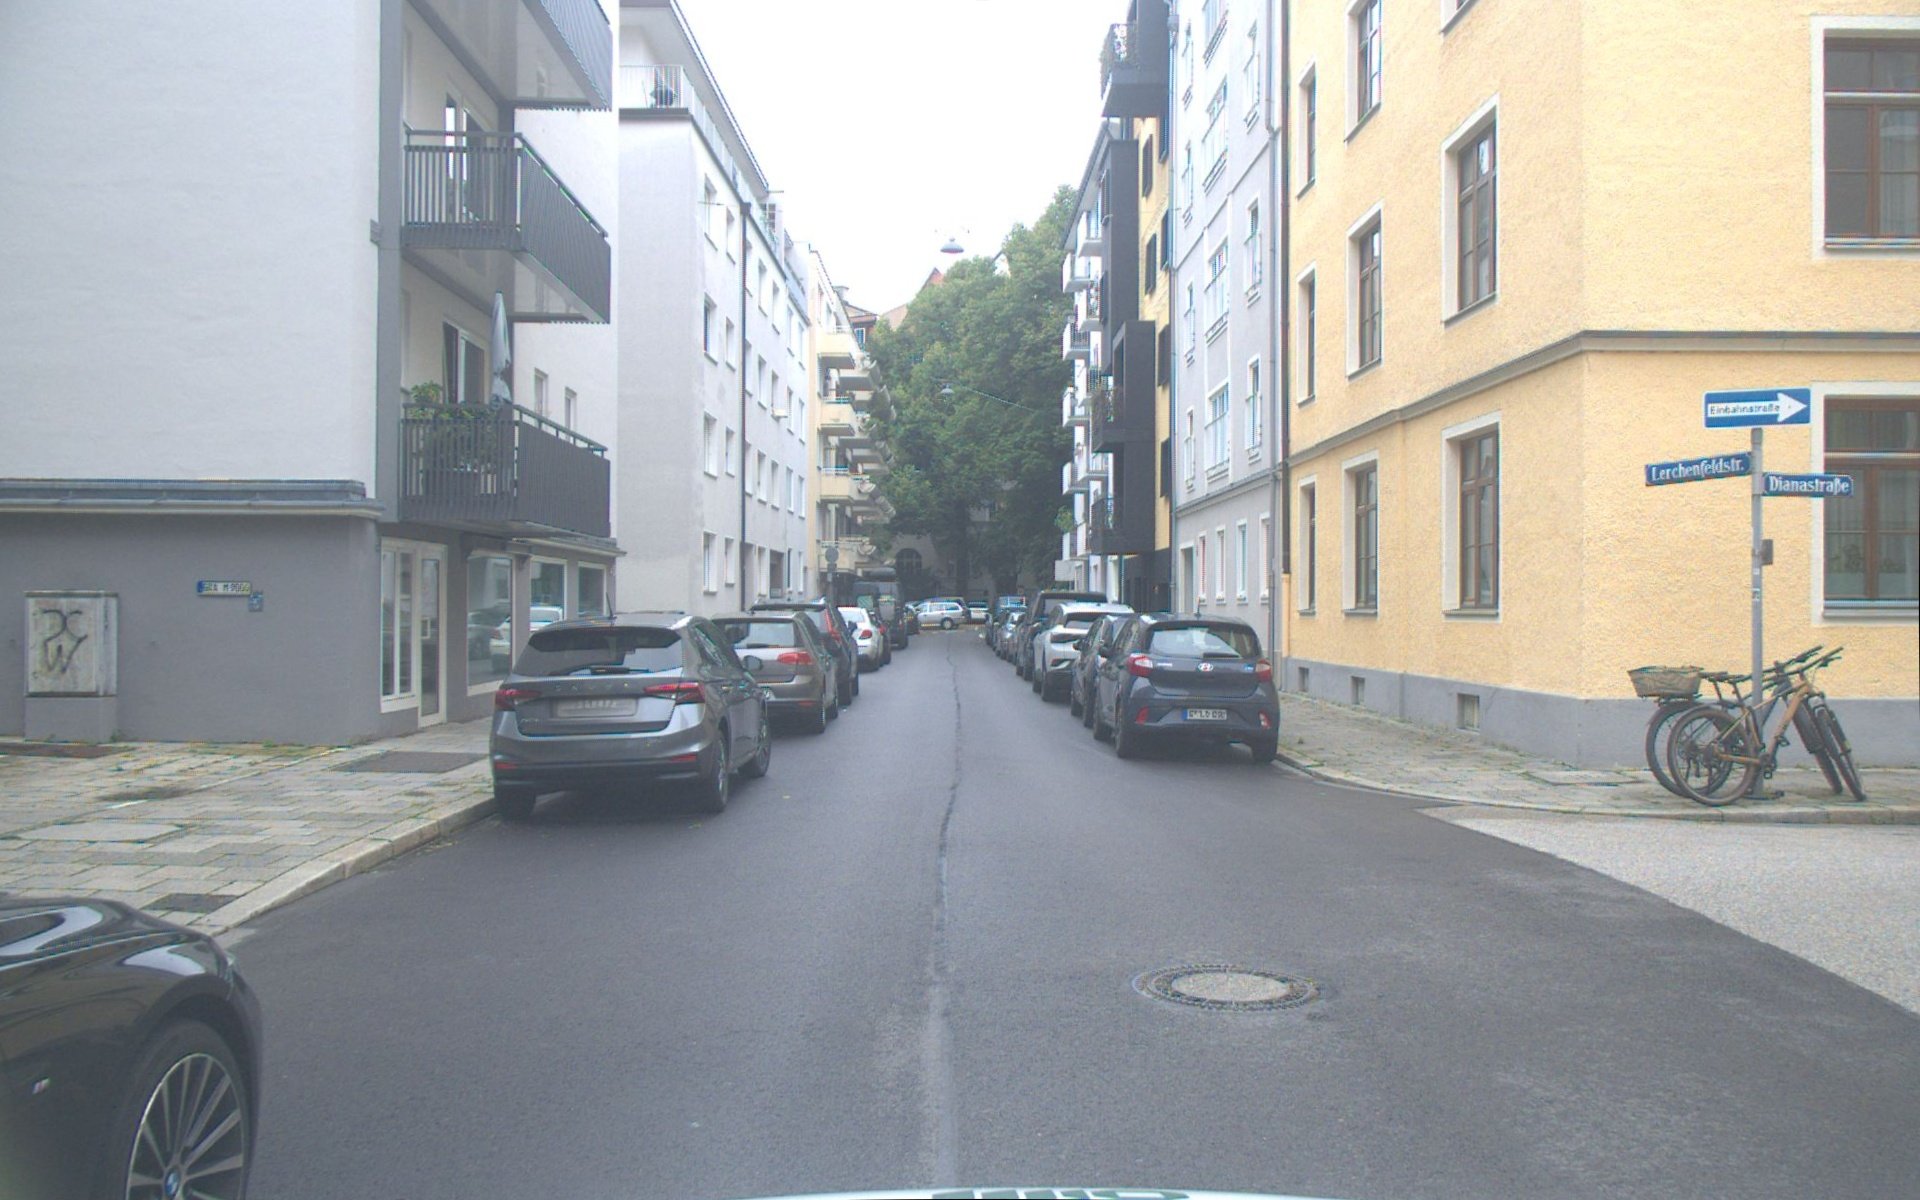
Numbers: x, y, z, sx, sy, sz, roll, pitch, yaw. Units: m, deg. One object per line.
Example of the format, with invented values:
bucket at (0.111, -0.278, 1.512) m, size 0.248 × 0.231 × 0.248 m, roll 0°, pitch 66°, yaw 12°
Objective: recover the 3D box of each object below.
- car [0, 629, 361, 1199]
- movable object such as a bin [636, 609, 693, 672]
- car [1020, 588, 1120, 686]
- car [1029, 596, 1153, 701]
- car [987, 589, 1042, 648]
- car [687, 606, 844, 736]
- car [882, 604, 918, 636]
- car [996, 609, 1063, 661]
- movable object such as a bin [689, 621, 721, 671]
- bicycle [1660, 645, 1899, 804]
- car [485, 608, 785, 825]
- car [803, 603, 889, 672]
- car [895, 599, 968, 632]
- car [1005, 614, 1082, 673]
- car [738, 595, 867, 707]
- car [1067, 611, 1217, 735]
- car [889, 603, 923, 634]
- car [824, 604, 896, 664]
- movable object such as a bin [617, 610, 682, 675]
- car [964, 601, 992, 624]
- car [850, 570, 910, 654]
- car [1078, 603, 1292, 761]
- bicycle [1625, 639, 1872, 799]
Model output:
car at (-2.382, 0.800, 1.851) m, size 1.818 × 1.433 × 4.382 m, roll -1°, pitch 0°, yaw 0°
movable object such as a bin at (-6.663, 0.913, 37.331) m, size 1.026 × 1.360 × 0.993 m, roll -2°, pitch 0°, yaw 2°
car at (2.348, 0.762, 36.266) m, size 1.792 × 1.943 × 4.415 m, roll 2°, pitch 0°, yaw -1°
car at (2.181, 0.772, 28.647) m, size 1.648 × 1.595 × 4.414 m, roll 3°, pitch 0°, yaw -1°
car at (2.038, 0.682, 62.842) m, size 1.792 × 2.034 × 4.414 m, roll 3°, pitch 0°, yaw -1°
car at (-2.399, 0.830, 21.199) m, size 1.659 × 1.467 × 3.976 m, roll -1°, pitch 0°, yaw -2°
car at (-2.839, 0.914, 78.540) m, size 1.609 × 1.408 × 3.481 m, roll -3°, pitch 0°, yaw -1°
car at (2.151, 1.075, 52.541) m, size 1.792 × 1.479 × 4.414 m, roll 3°, pitch 0°, yaw -1°
movable object such as a bin at (-5.511, 0.996, 35.805) m, size 0.637 × 1.038 × 0.584 m, roll 2°, pitch 0°, yaw -7°
bicycle at (6.350, 0.953, 12.838) m, size 1.678 × 1.159 × 0.374 m, roll -1°, pitch 1°, yaw -2°
car at (-2.482, 0.823, 13.527) m, size 1.658 × 1.467 × 3.942 m, roll -1°, pitch 0°, yaw 0°
car at (-2.707, 0.859, 40.158) m, size 1.740 × 1.513 × 4.519 m, roll -3°, pitch 0°, yaw 0°
car at (-1.518, 0.820, 88.473) m, size 3.808 × 1.612 × 1.647 m, roll -3°, pitch 0°, yaw -2°
car at (2.320, 1.199, 46.926) m, size 1.792 × 1.479 × 4.414 m, roll 3°, pitch 0°, yaw -1°
car at (-2.485, 0.770, 27.024) m, size 1.741 × 1.658 × 4.413 m, roll -1°, pitch 0°, yaw -1°
car at (2.463, 0.948, 23.140) m, size 1.630 × 1.495 × 3.818 m, roll 3°, pitch 0°, yaw 0°
car at (-2.661, 0.903, 82.390) m, size 1.609 × 1.408 × 3.481 m, roll -3°, pitch 0°, yaw -1°
car at (-2.682, 0.902, 45.263) m, size 1.741 × 1.478 × 4.045 m, roll -3°, pitch 0°, yaw -1°
movable object such as a bin at (-6.801, 0.918, 36.252) m, size 1.142 × 1.360 × 1.025 m, roll -2°, pitch 0°, yaw 2°
car at (1.145, 0.784, 105.705) m, size 1.609 × 1.408 × 3.745 m, roll -3°, pitch 0°, yaw -1°
car at (-2.854, 0.412, 59.814) m, size 1.897 × 2.850 × 4.531 m, roll -2°, pitch 0°, yaw -1°
car at (2.423, 0.833, 18.825) m, size 1.715 × 1.495 × 4.342 m, roll 3°, pitch 0°, yaw -1°
bicycle at (6.354, 0.948, 13.356) m, size 1.772 × 1.194 × 0.505 m, roll -1°, pitch 1°, yaw -3°
